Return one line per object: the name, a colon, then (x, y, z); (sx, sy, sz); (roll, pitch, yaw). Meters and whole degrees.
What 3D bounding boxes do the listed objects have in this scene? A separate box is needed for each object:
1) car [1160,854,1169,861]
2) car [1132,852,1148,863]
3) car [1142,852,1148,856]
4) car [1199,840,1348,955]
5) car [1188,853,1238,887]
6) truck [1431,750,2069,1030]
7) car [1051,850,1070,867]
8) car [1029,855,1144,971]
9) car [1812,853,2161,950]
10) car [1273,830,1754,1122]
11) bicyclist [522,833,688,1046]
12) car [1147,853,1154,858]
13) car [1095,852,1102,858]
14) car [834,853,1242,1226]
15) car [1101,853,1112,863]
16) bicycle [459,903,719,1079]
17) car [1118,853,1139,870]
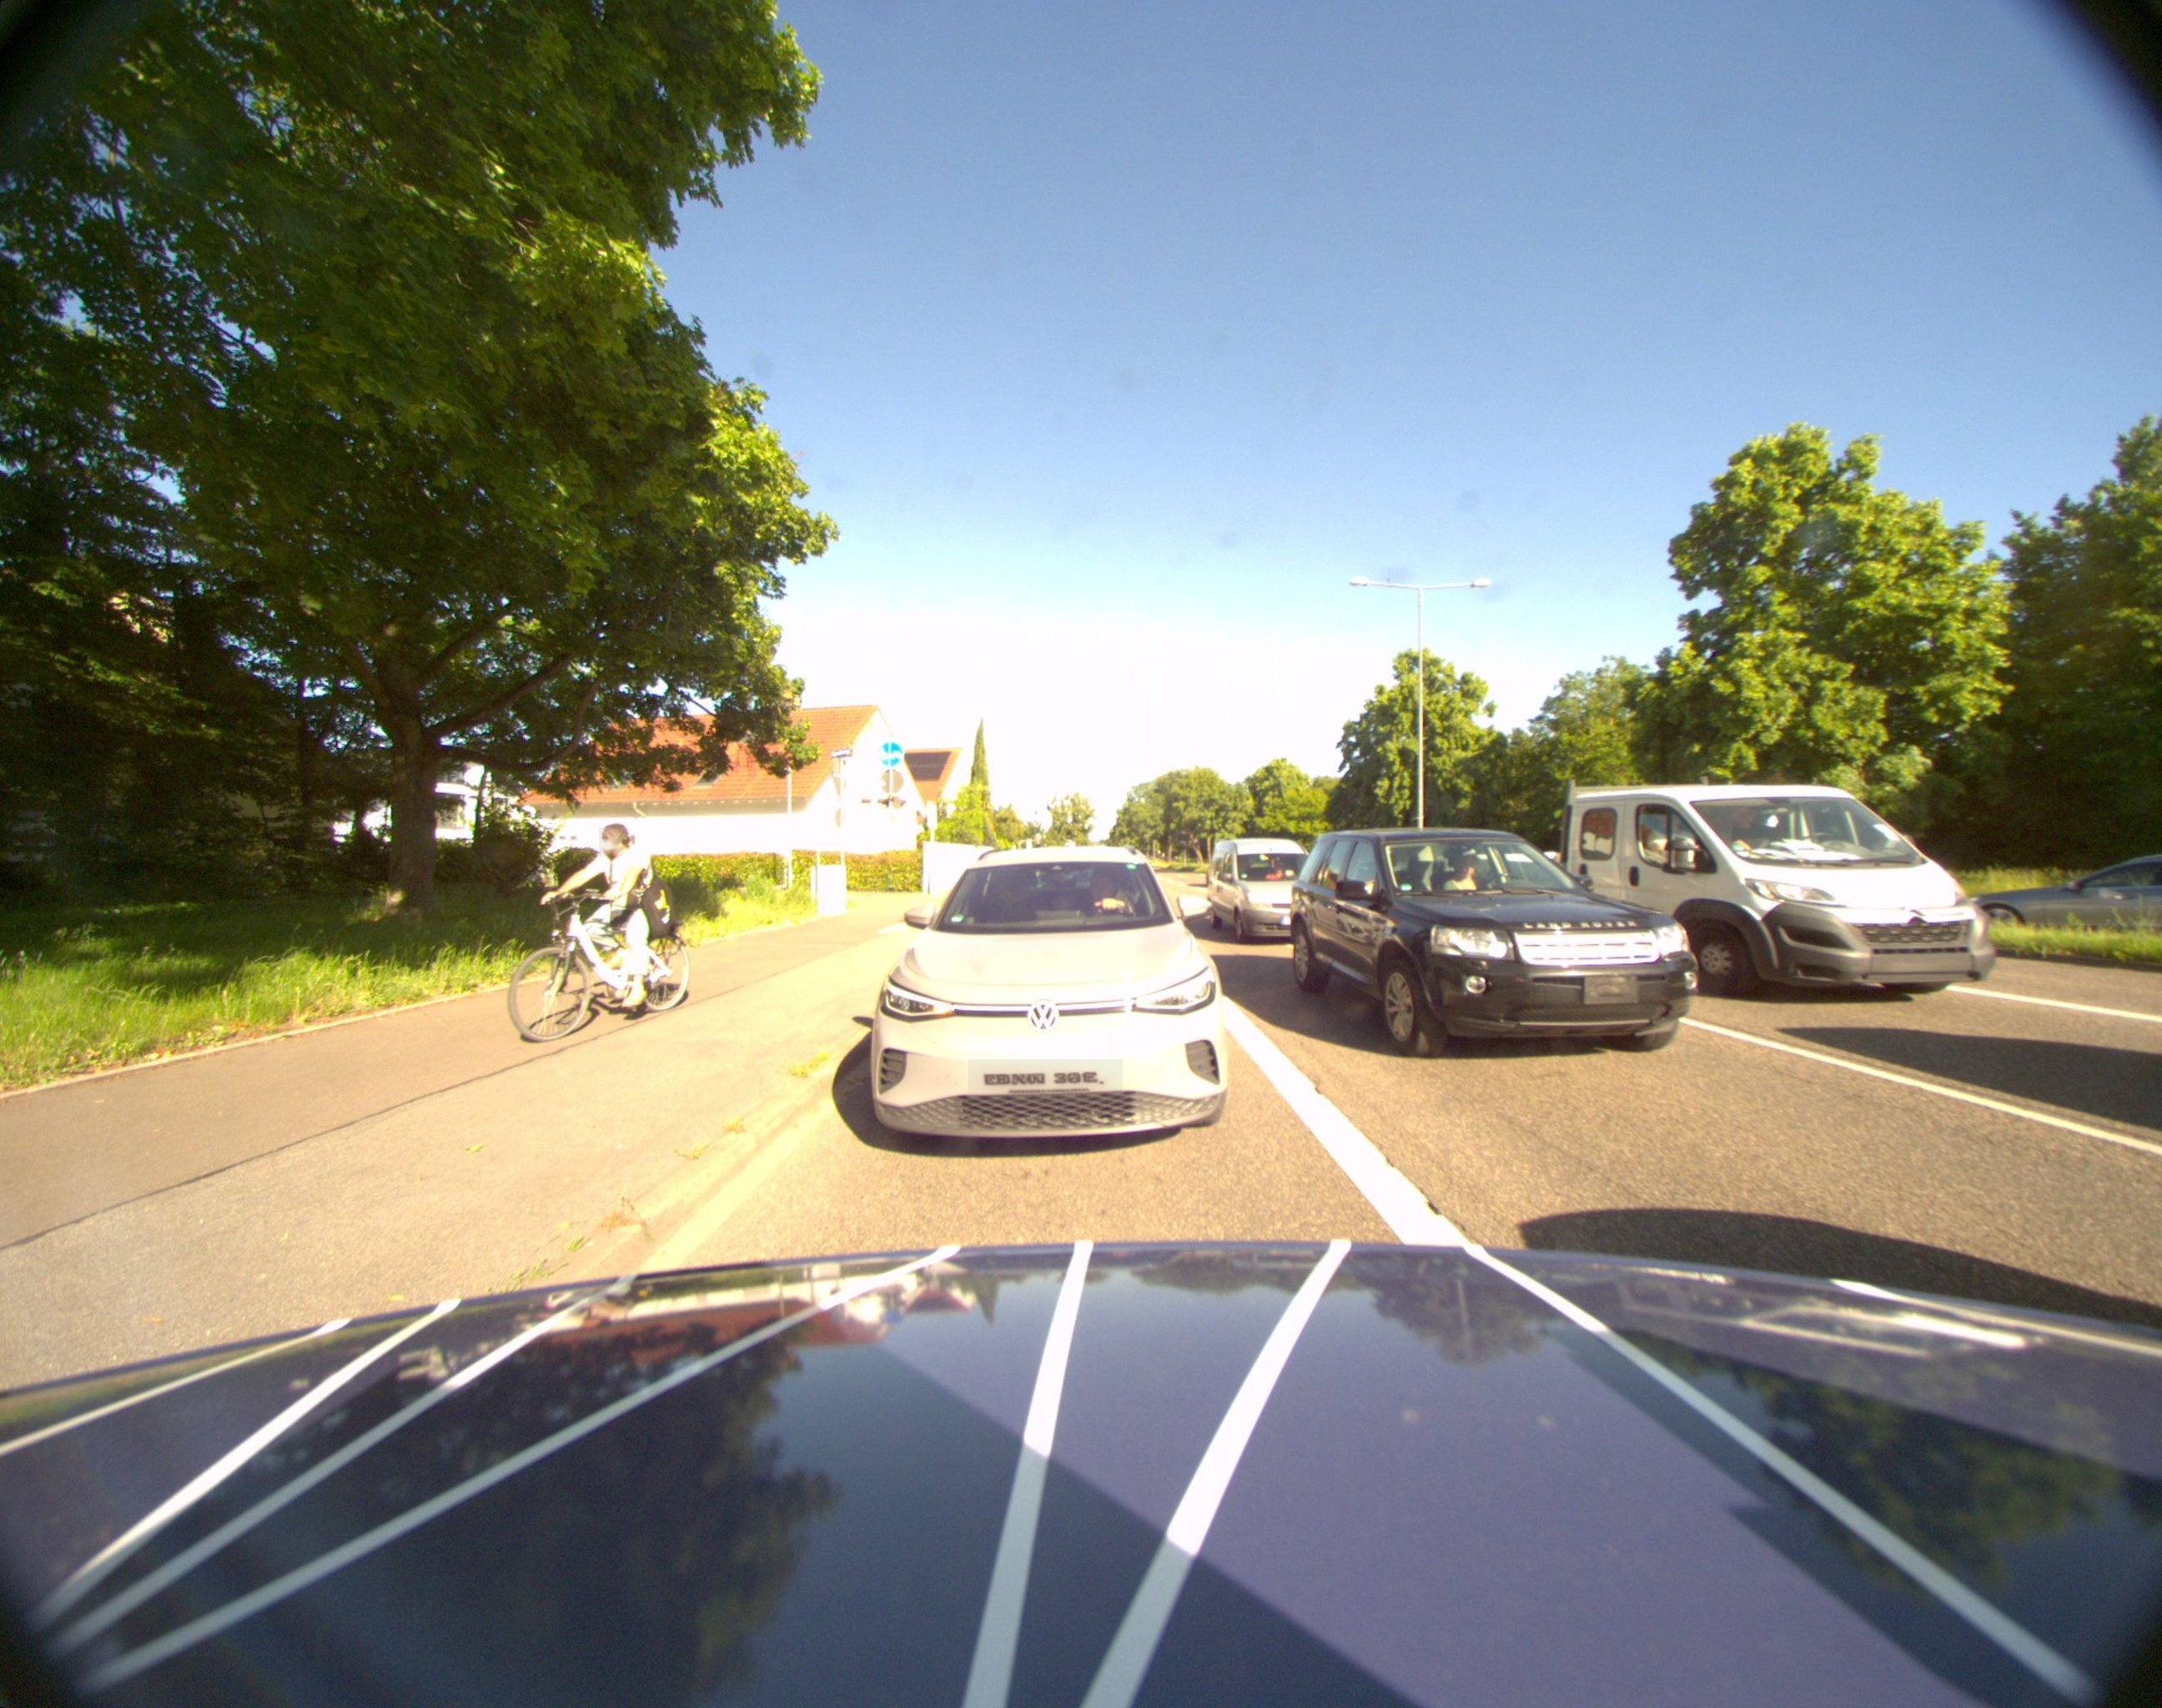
car: (20.723, 0.814, 188.296); (1.878, 1.674, 4.000); (0, 0, 1)
car: (8.153, 0.445, 104.921); (1.727, 1.436, 3.999); (0, 0, -2)
car: (21.643, -0.030, 256.129); (1.792, 1.409, 4.000); (0, 0, 1)
car: (3.326, 0.652, 13.966); (1.632, 1.741, 4.386); (-2, 1, 1)
car: (6.176, 0.717, 36.013); (1.704, 1.466, 3.931); (-1, 0, 0)
truck: (7.213, 0.267, 9.807); (2.185, 2.307, 6.842); (-2, 1, 0)
car: (-1.959, 0.411, 71.894); (1.630, 1.523, 3.931); (-1, 0, 0)
car: (0.110, 0.864, 13.019); (1.632, 1.586, 4.024); (-2, 1, 1)
car: (15.930, 0.693, 13.387); (1.690, 1.425, 4.615); (0, 0, 1)
car: (3.167, 0.713, 6.771); (1.816, 1.721, 4.386); (-2, 1, 1)
bicyclist: (-3.836, 0.646, 6.202); (0.579, 1.572, 0.998); (2, -1, 8)
car: (21.217, 0.473, 232.470); (1.792, 1.674, 4.000); (0, 0, 1)
car: (4.390, 0.204, 188.093); (1.726, 1.630, 4.000); (0, 0, 1)
car: (-0.169, 0.847, 5.576); (1.858, 1.679, 4.206); (0, 1, 1)
car: (4.094, 0.587, 123.136); (1.726, 1.630, 4.000); (0, 0, 1)
bicycle: (-3.847, 0.996, 6.192); (0.579, 1.091, 1.989); (2, -1, 8)
car: (4.235, 0.645, 67.822); (1.630, 1.466, 3.931); (-1, 0, 0)
